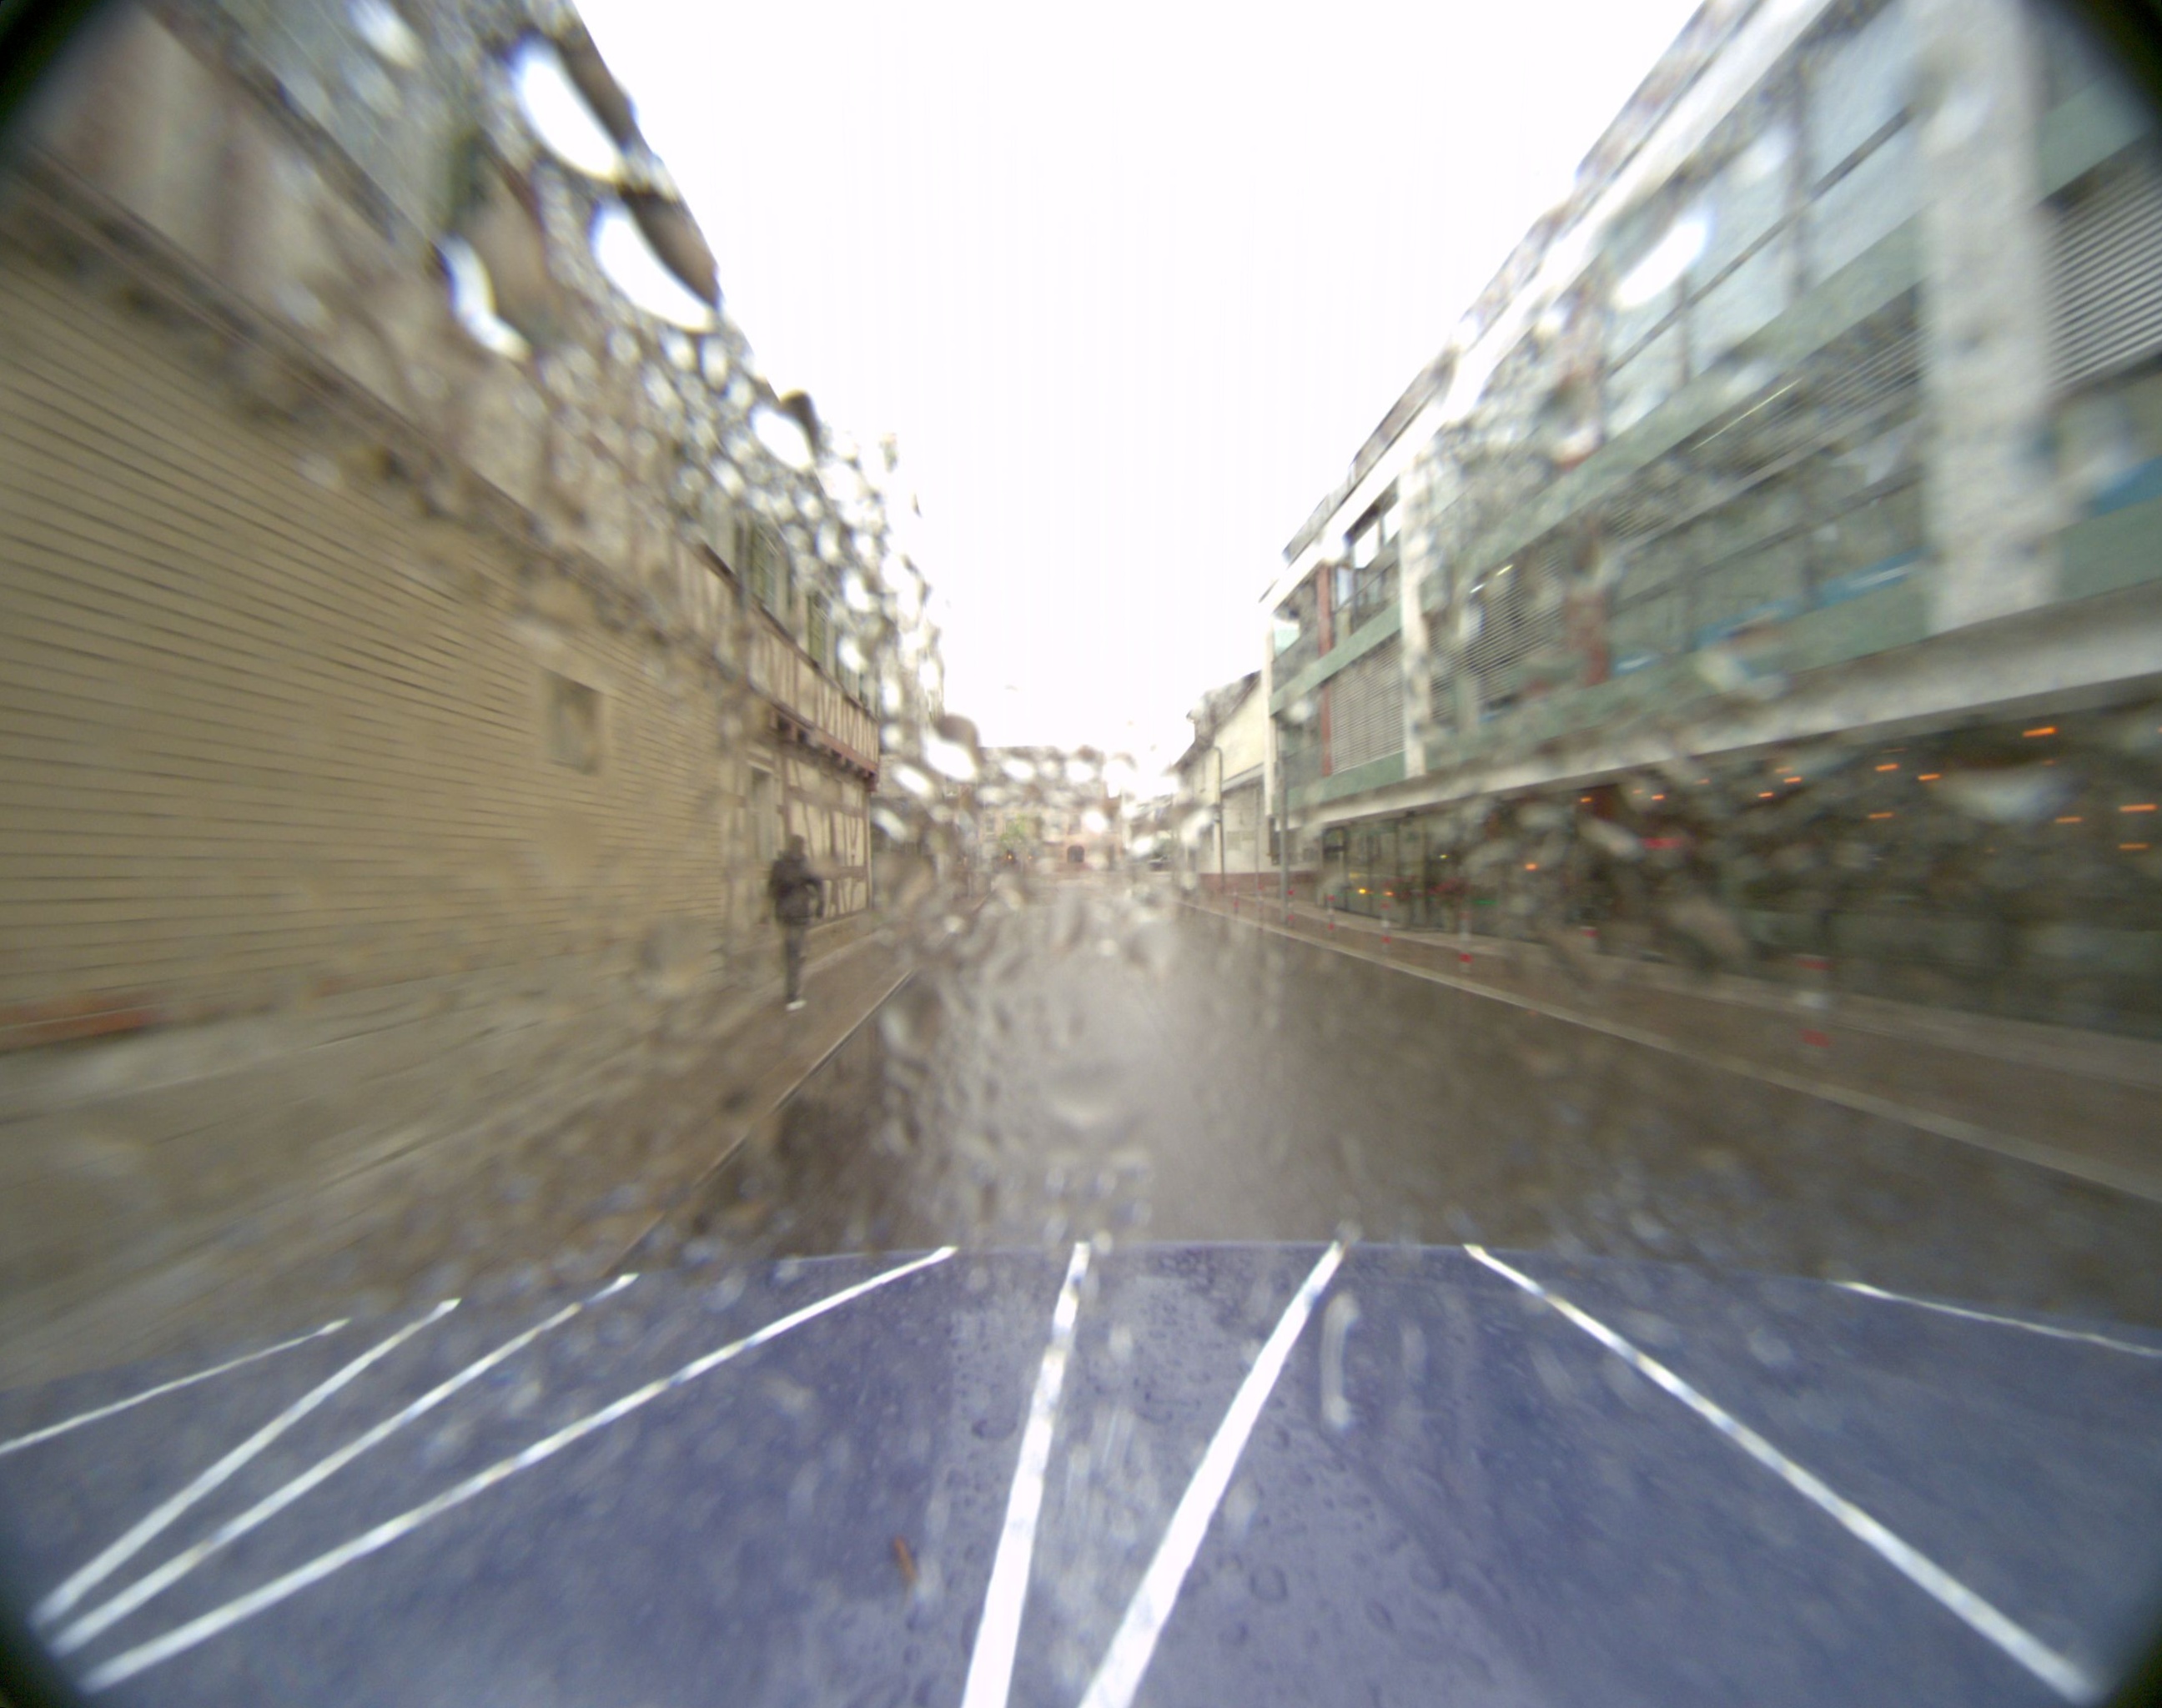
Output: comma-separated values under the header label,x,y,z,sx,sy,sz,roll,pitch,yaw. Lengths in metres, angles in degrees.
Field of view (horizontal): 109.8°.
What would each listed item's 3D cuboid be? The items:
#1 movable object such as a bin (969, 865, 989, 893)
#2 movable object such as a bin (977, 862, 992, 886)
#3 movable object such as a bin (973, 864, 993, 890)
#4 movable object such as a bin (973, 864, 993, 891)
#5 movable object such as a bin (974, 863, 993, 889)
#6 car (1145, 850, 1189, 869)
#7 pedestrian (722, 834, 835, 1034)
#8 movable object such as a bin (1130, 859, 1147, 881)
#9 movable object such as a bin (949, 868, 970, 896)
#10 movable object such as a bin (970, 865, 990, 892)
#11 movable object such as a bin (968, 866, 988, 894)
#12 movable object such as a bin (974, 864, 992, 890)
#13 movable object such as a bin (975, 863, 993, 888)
label,x,y,z,sx,sy,sz,roll,pitch,yaw
movable object such as a bin,-4.065,0.999,30.356,0.768,1.089,0.581,0,1,-4
movable object such as a bin,-4.532,0.932,35.762,0.665,1.089,0.551,0,1,-6
movable object such as a bin,-4.143,0.972,32.162,0.768,1.089,0.581,0,1,-4
movable object such as a bin,-4.073,0.978,31.572,0.768,1.089,0.581,0,1,-4
movable object such as a bin,-4.275,0.966,33.364,0.768,1.089,0.581,0,1,-4
car,9.282,0.611,82.005,4.480,2.002,2.002,1,0,13
pedestrian,-2.980,0.754,7.584,0.812,1.874,0.907,1,0,-6
movable object such as a bin,2.964,0.798,39.150,0.689,1.075,0.760,-4,2,-6
movable object such as a bin,-4.816,1.106,30.049,0.768,1.089,0.626,0,1,-4
movable object such as a bin,-4.111,0.991,30.947,0.768,1.089,0.581,0,1,-4
movable object such as a bin,-4.009,1.015,29.626,0.768,1.089,0.581,0,1,-4
movable object such as a bin,-4.217,0.975,32.767,0.768,1.089,0.581,0,1,-4
movable object such as a bin,-4.325,0.939,33.948,0.768,1.089,0.581,0,1,-4
